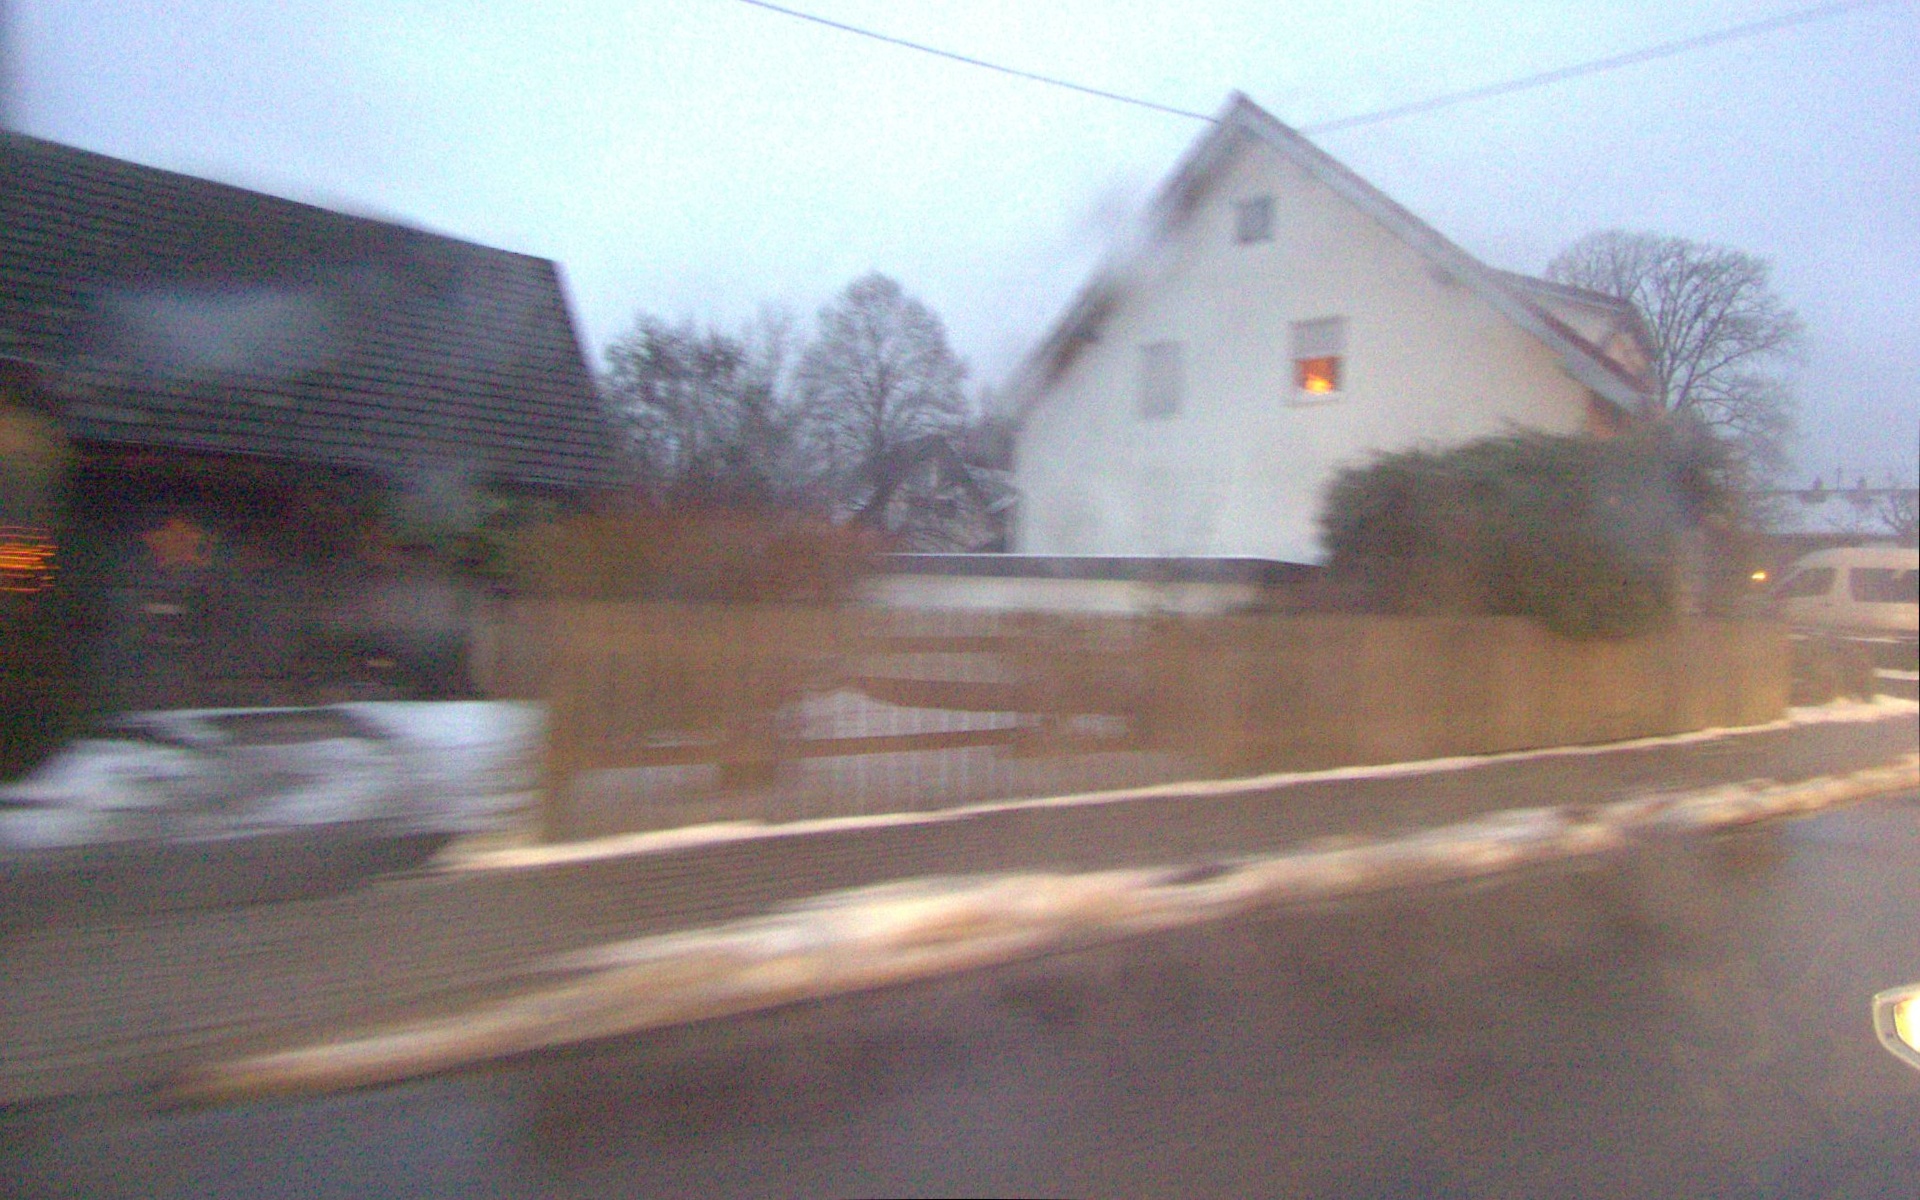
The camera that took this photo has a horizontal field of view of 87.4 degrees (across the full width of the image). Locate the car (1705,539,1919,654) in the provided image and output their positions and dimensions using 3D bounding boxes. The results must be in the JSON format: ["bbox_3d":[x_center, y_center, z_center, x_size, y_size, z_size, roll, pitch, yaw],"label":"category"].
[{"bbox_3d":[21.604,-0.072,23.826,6.005,2.587,1.997,2,0,30],"label":"car"}]
